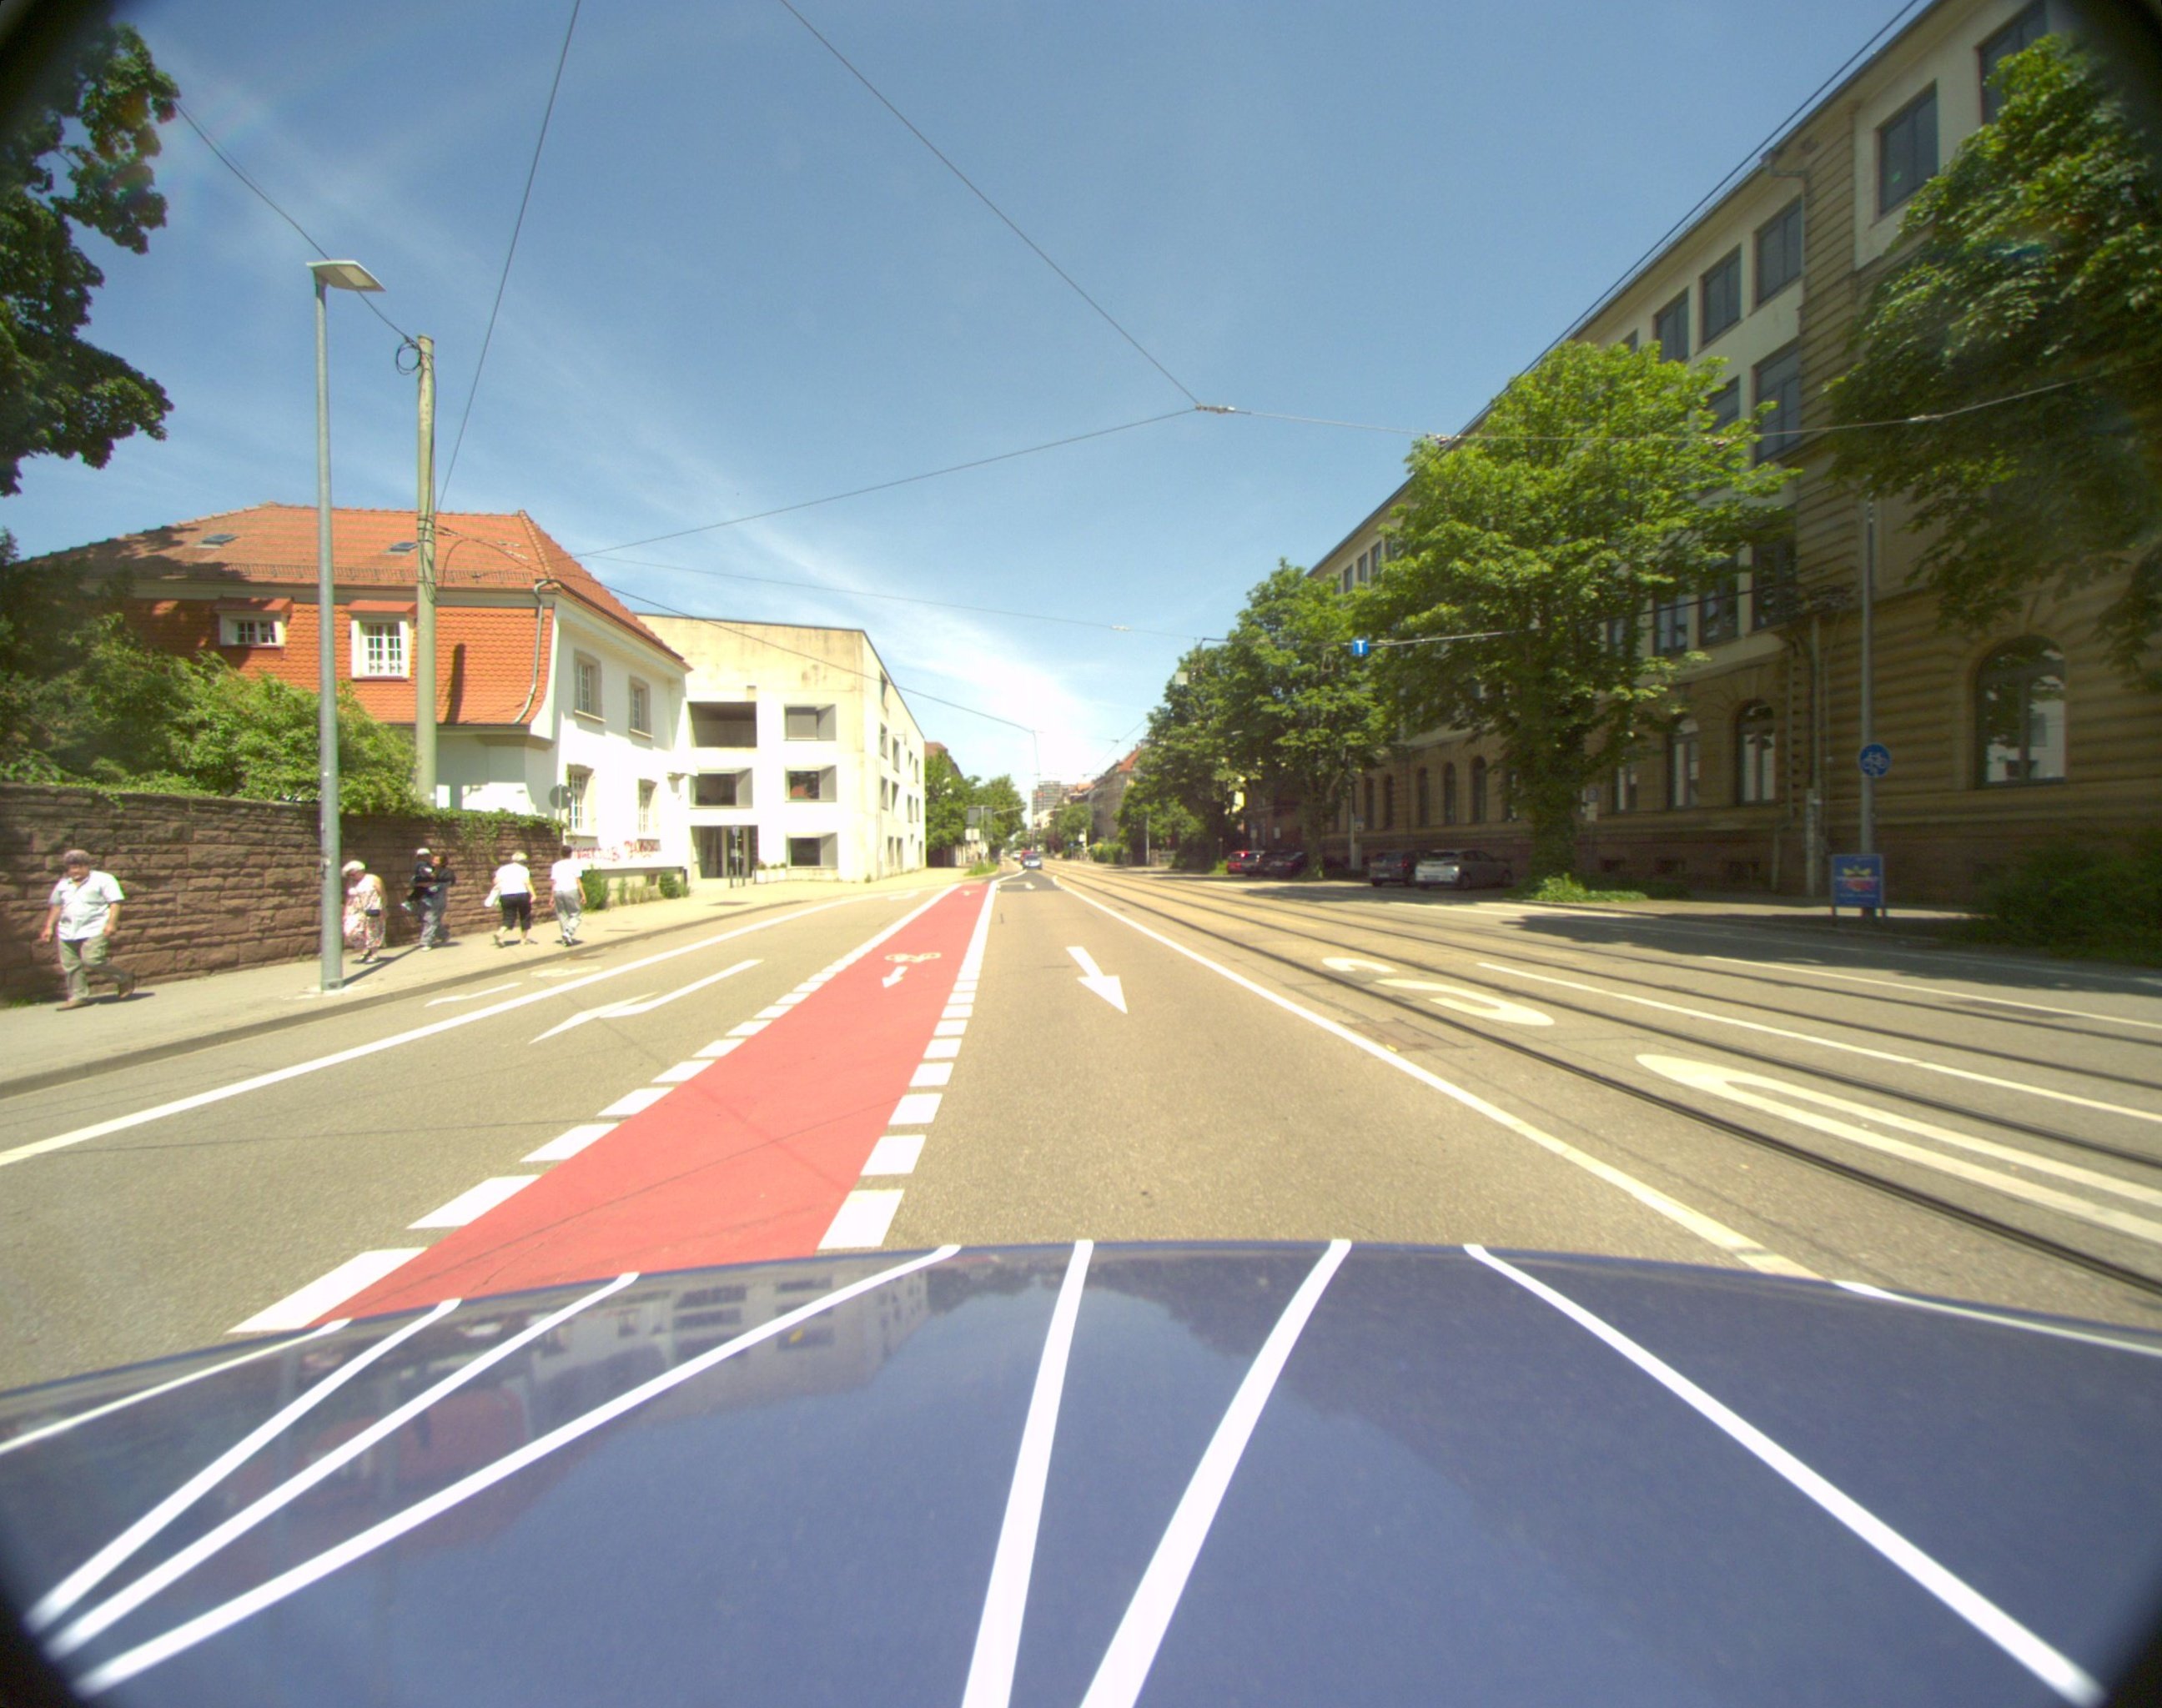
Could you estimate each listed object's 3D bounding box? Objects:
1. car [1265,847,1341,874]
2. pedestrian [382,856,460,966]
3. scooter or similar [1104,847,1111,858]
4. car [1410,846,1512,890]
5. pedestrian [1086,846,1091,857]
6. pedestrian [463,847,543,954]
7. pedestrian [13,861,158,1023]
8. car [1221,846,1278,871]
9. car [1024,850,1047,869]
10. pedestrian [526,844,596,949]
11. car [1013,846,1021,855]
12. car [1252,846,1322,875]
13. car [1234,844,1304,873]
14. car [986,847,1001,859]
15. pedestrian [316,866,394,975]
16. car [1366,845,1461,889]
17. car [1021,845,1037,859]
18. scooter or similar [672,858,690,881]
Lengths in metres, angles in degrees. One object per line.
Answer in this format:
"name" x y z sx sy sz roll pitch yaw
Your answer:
"car" 11.802 0.317 40.337 3.940 1.366 1.665 -1 0 -31
"pedestrian" -10.972 0.928 12.650 0.718 1.763 0.628 -1 0 -9
"scooter or similar" 3.720 -0.238 106.909 1.012 1.443 0.596 -1 2 -6
"car" 13.551 0.448 27.038 3.555 1.398 1.698 -2 1 -34
"pedestrian" 1.138 -0.408 120.576 0.742 1.632 0.939 -1 1 -3
"pedestrian" -9.971 0.781 13.140 0.816 1.797 0.700 0 1 -1
"pedestrian" -10.510 0.903 8.042 0.662 1.638 0.624 0 1 0
"car" 11.021 0.294 49.599 3.358 1.507 1.665 -2 1 -31
"car" -4.221 0.458 69.752 1.894 1.561 4.034 -1 1 -6
"pedestrian" -9.122 0.723 13.353 0.679 1.797 0.748 0 1 -1
"car" -13.199 -0.784 157.679 1.620 1.700 3.427 -1 1 -4
"car" 11.765 0.334 43.376 3.825 1.568 1.789 -1 1 -35
"car" 11.485 0.275 46.335 4.329 1.575 1.665 -3 2 -35
"car" -11.516 -0.122 100.225 1.865 1.568 4.875 -1 0 -5
"pedestrian" -10.485 0.941 10.987 0.517 1.524 0.597 0 1 0
"car" 13.125 0.470 29.913 3.683 1.511 1.665 -3 2 -34
"car" -6.611 -0.237 96.990 1.876 1.638 3.776 -1 1 -6
"scooter or similar" -20.689 0.780 39.285 0.534 1.133 0.962 -1 1 -11
